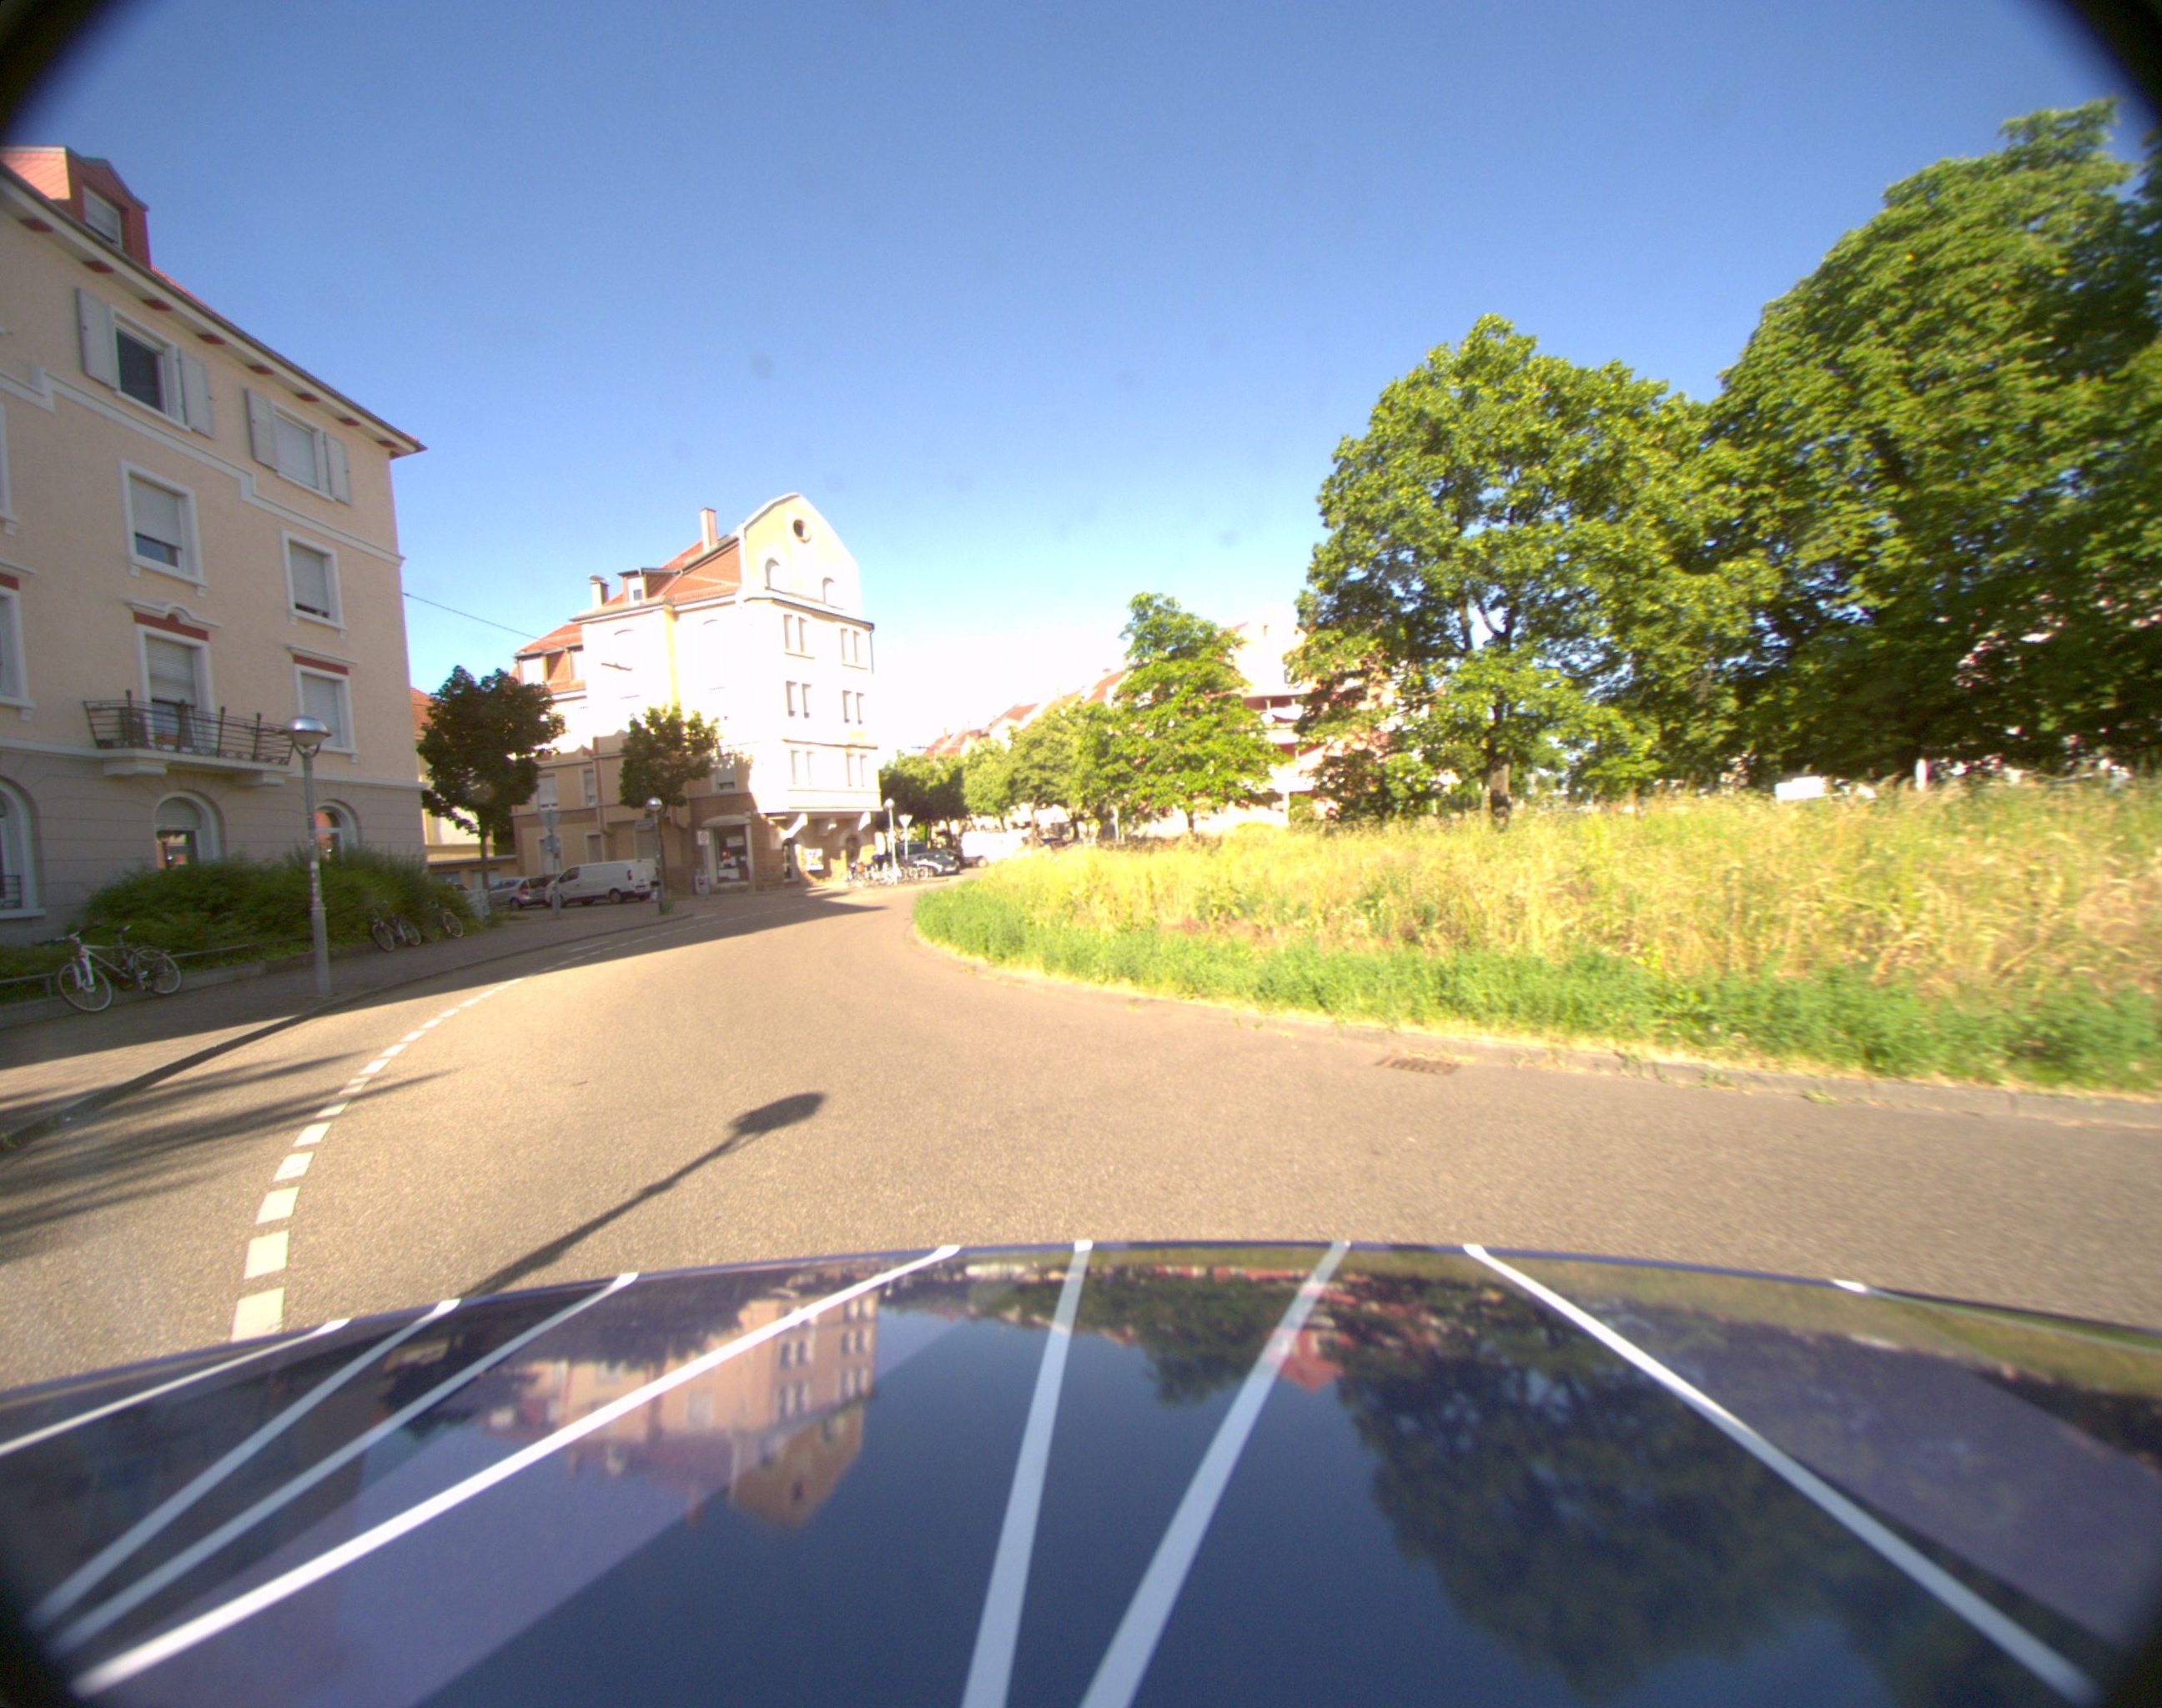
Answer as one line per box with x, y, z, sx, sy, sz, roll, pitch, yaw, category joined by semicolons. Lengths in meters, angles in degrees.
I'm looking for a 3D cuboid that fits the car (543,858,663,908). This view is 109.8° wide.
-22.039;1.319;35.110;4.442;1.930;1.899;-4;2;11;car

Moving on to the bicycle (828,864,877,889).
-10.133;1.000;33.696;2.360;1.046;0.655;-3;-1;32;bicycle

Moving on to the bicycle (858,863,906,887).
-9.202;0.962;35.051;2.360;1.009;0.655;-3;1;32;bicycle

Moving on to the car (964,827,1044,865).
-5.506;-0.579;54.777;5.185;2.349;2.038;-4;2;11;car

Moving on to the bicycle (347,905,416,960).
-14.787;1.629;16.094;0.378;0.989;1.389;-4;1;-13;bicycle

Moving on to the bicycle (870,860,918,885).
-8.776;0.880;35.651;2.360;1.046;0.655;-3;2;32;bicycle

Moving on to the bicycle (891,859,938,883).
-8.102;0.824;36.934;2.360;1.046;0.655;-3;2;32;bicycle

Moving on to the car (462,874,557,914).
-27.185;1.907;36.142;3.538;1.567;1.690;-4;2;15;car

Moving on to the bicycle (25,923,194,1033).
-12.684;1.568;9.991;0.436;1.148;1.667;-3;1;-17;bicycle

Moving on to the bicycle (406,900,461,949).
-15.326;1.648;18.021;0.378;0.989;1.389;-4;2;-16;bicycle

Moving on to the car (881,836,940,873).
-11.077;0.036;48.991;2.257;2.107;4.790;-5;2;-30;car

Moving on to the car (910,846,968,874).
-8.372;0.380;44.494;2.003;1.435;3.991;-5;2;-31;car

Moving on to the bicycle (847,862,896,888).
-9.491;0.971;34.389;2.360;1.046;0.655;-3;2;32;bicycle

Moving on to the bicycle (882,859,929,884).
-8.370;0.842;36.227;2.360;1.046;0.655;-3;2;32;bicycle
